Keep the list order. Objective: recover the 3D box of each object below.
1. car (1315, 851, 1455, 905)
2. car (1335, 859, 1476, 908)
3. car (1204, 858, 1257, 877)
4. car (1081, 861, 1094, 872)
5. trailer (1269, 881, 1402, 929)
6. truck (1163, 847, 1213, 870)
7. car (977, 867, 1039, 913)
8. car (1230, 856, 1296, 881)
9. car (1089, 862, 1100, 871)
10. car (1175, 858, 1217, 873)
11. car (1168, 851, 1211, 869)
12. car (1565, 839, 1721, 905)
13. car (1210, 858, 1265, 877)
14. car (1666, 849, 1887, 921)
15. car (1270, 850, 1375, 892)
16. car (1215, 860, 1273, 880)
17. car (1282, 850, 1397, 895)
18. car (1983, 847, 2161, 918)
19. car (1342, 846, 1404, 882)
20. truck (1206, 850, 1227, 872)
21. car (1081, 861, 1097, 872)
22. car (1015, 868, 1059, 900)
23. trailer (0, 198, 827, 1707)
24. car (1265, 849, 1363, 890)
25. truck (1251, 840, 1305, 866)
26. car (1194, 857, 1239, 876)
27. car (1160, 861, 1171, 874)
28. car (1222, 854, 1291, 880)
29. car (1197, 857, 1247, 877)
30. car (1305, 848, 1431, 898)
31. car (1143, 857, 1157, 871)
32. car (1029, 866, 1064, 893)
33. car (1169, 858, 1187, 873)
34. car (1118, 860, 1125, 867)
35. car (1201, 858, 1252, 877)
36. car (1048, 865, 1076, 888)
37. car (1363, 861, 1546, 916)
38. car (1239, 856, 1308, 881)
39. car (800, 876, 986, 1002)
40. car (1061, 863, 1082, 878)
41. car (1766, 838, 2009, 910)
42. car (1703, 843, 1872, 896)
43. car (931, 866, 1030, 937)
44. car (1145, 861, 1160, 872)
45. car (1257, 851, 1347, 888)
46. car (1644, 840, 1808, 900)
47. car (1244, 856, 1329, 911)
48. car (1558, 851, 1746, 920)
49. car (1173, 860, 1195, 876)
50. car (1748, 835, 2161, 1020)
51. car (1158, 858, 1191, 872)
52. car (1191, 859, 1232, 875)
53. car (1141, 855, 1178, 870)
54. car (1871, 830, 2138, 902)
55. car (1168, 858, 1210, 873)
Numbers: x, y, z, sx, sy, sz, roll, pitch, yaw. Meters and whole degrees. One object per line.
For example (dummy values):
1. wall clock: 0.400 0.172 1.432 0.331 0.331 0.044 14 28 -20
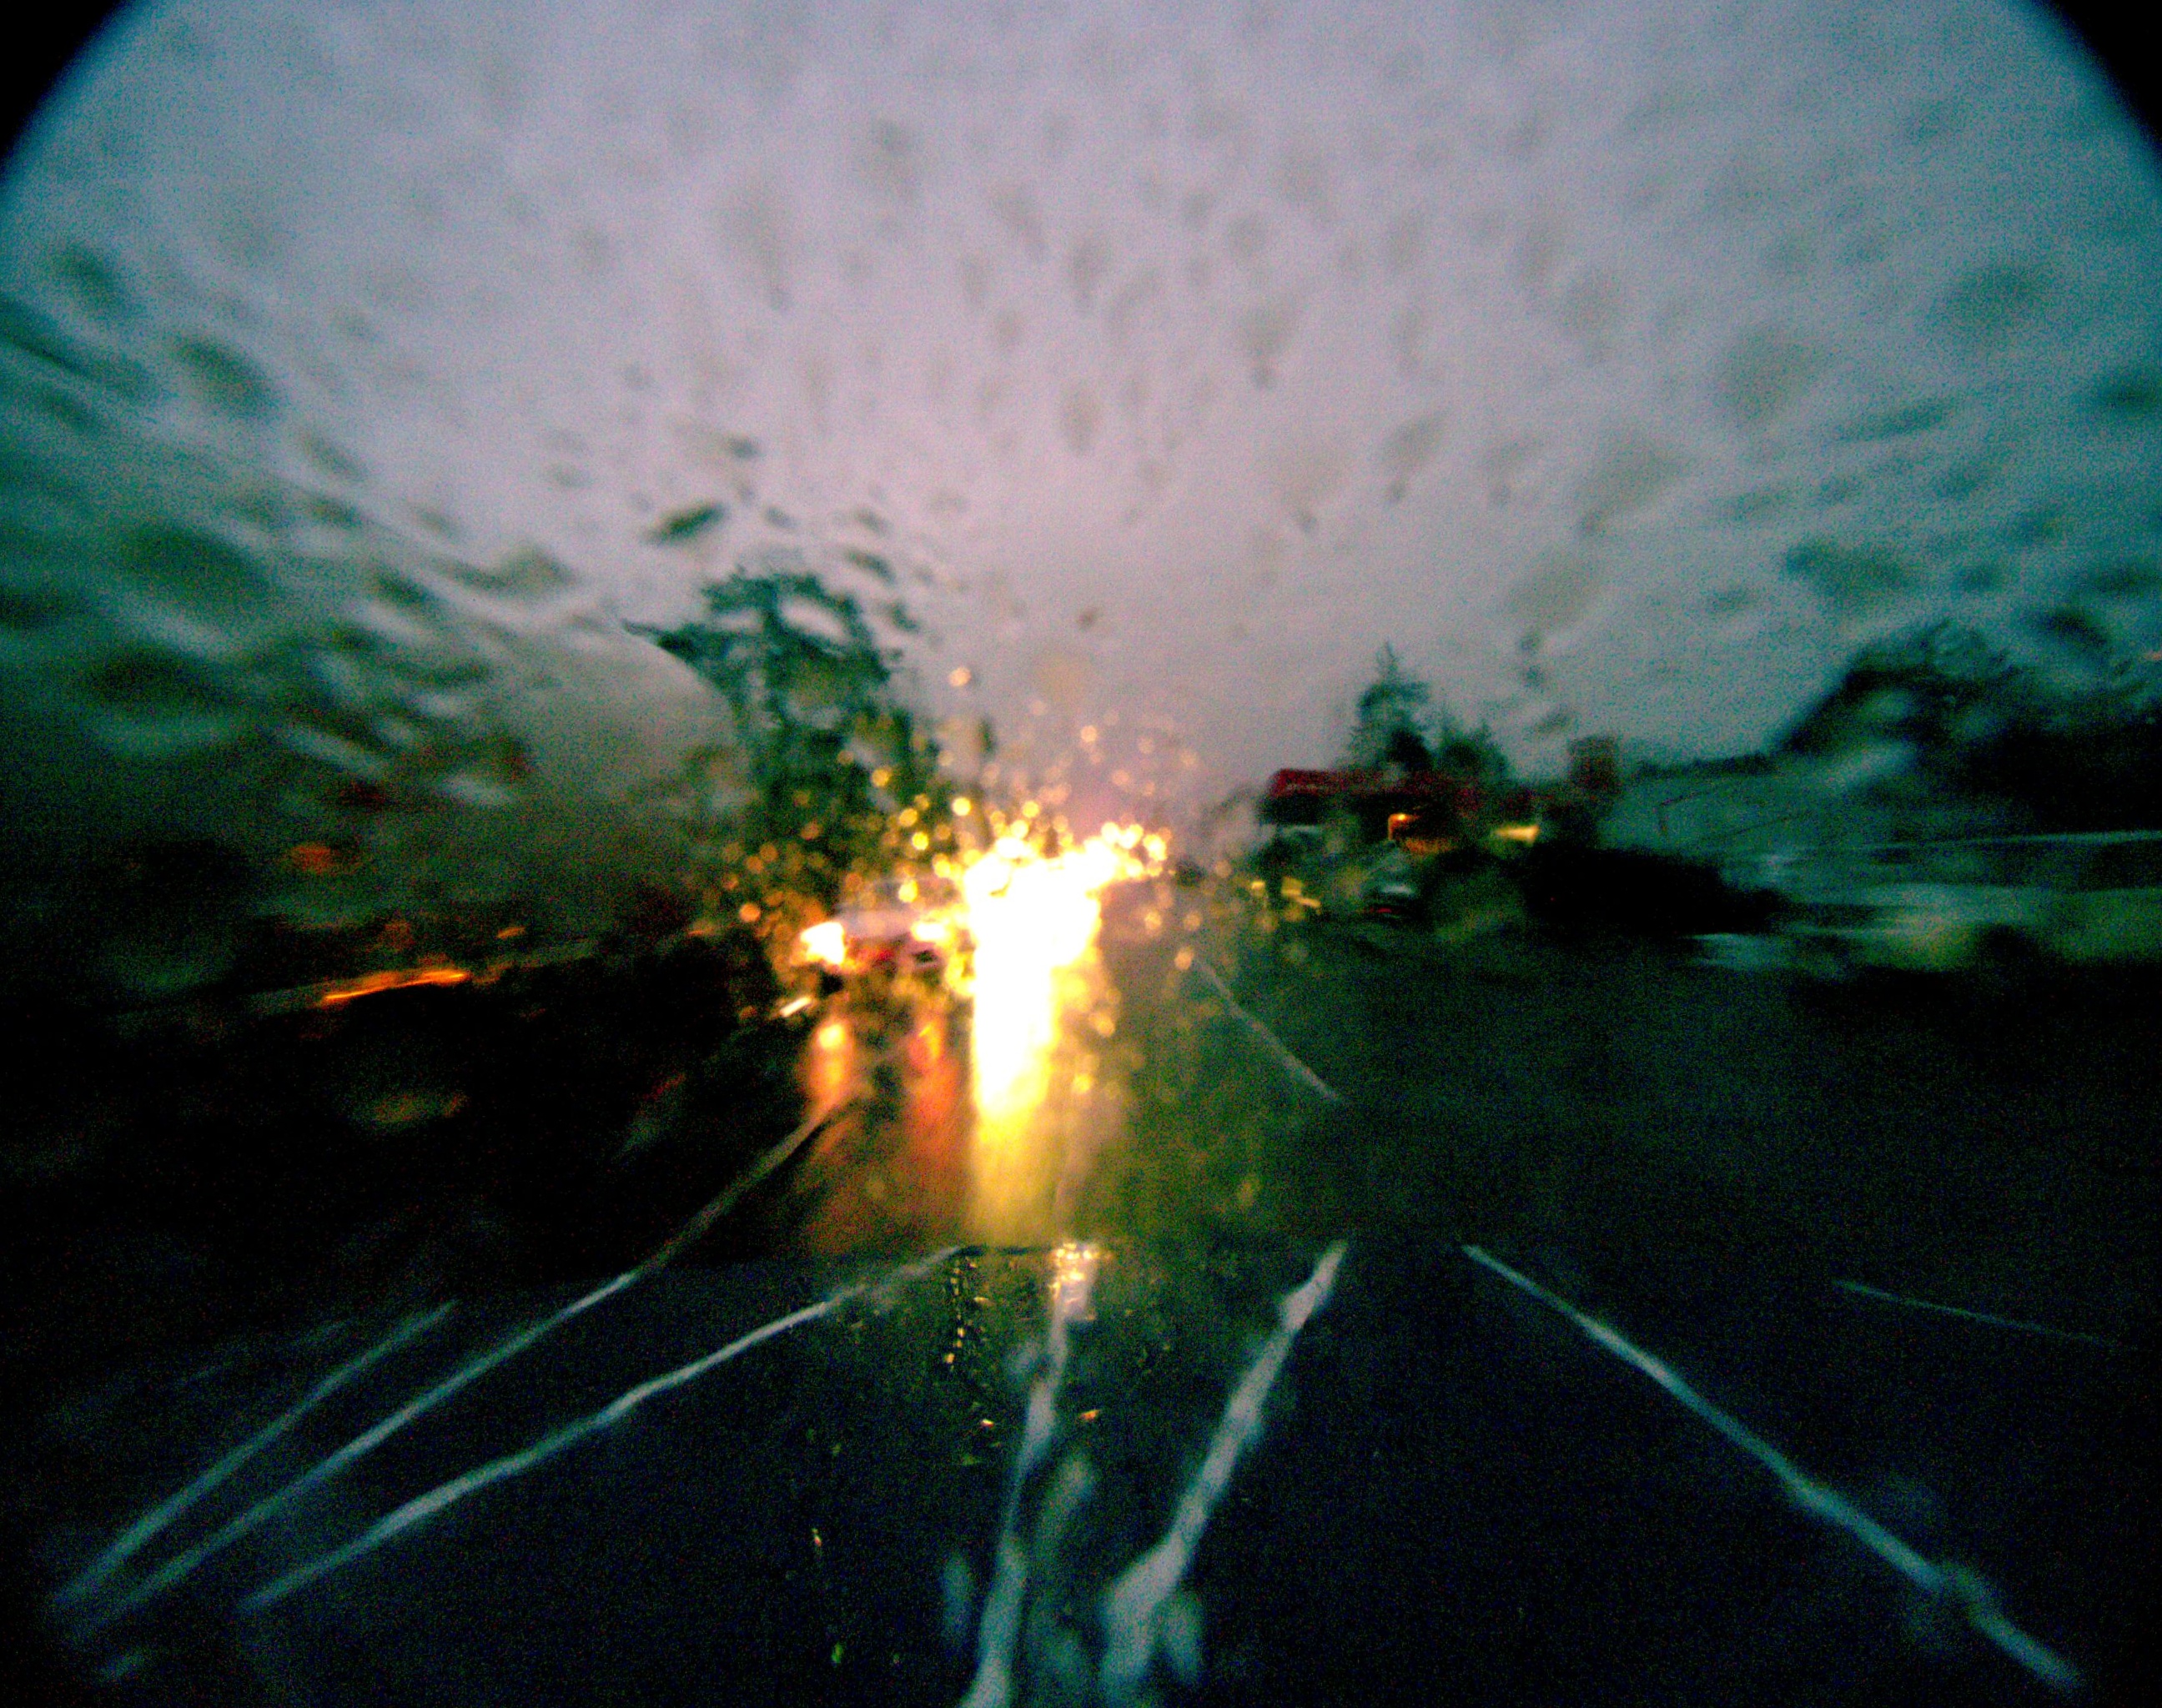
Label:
1. car: 11.090 0.858 27.976 4.287 1.617 2.000 -4 0 2
2. car: 10.720 0.968 25.303 3.903 1.420 1.720 -2 0 3
3. car: 11.921 1.107 60.827 3.868 1.397 1.840 -2 0 1
4. car: 1.051 1.959 121.125 1.889 1.618 4.001 -2 -1 2
5. trailer: 7.087 1.368 21.961 1.998 1.033 6.105 0 -1 2
6. truck: 15.620 0.650 111.317 6.876 3.123 2.334 -1 0 0
7. car: -2.621 1.265 28.237 1.706 1.463 4.272 -2 0 2
8. car: 11.951 0.949 50.038 3.868 1.550 1.840 -2 0 1
9. car: 2.351 2.174 133.436 1.890 1.618 4.000 -2 -1 0
10. car: 12.761 1.287 84.289 4.346 1.489 1.826 -2 0 2
11. car: 16.418 0.968 115.119 6.047 2.622 2.196 -1 -1 0
12. car: 17.579 0.525 24.048 1.998 1.893 4.000 -1 0 1
13. car: 11.969 1.049 58.367 3.868 1.338 1.840 -2 0 1
14. car: 17.384 0.710 19.311 1.998 1.615 4.000 -1 0 1
15. car: 11.466 0.801 36.329 4.287 1.652 2.000 -4 0 2
16. car: 11.878 1.155 55.510 3.868 1.338 1.840 -2 0 1
17. car: 11.358 0.791 33.604 4.287 1.652 2.137 -4 0 2
18. car: 26.031 0.652 19.103 1.998 1.615 4.000 -1 0 1
19. car: 15.771 0.523 41.253 1.890 1.858 4.000 -1 0 1
20. truck: 21.966 1.212 123.604 2.036 3.434 5.852 1 -1 -2
21. car: 1.138 1.764 110.363 2.016 1.483 3.999 -1 -1 -3
22. car: -2.033 1.370 36.004 1.657 1.328 4.273 -2 0 2
23. trailer: -3.518 0.256 0.738 2.494 3.221 10.870 -2 0 2
24. car: 11.836 0.775 38.820 4.287 1.753 2.000 -4 0 2
25. truck: 34.671 -0.154 133.824 8.714 4.236 3.004 -3 0 -9
26. car: 12.852 1.170 72.210 4.056 1.640 1.942 -1 0 4
27. car: 11.000 1.769 98.457 1.174 1.634 2.873 -1 -1 10
28. car: 12.080 0.892 52.596 4.291 1.647 1.981 -2 0 1
29. car: 12.240 1.146 66.095 4.040 1.545 1.824 -3 -1 1
30. car: 11.535 0.764 30.811 4.287 1.652 2.000 -4 0 2
31. car: 9.784 1.417 108.149 1.839 2.001 4.485 -2 0 4
32. car: -1.962 1.475 44.713 1.645 1.358 4.770 -2 0 2
33. car: 9.702 1.139 75.926 1.521 1.534 3.016 0 -1 2
34. car: 9.228 2.138 173.519 1.607 1.525 4.001 0 0 1
35. car: 12.160 1.103 63.634 3.868 1.401 1.944 -3 0 1
36. car: -1.365 1.612 56.252 1.712 1.566 4.465 -1 -1 2
37. car: 11.107 1.001 22.841 4.568 1.573 1.920 0 0 1
38. car: 12.013 0.929 47.650 3.868 1.433 1.840 -2 0 1
39. car: -2.673 1.152 11.902 1.666 1.430 4.382 -2 0 2
40. car: -1.061 1.740 82.353 2.016 1.483 3.999 -2 -1 -3
41. car: 20.316 0.462 19.442 1.998 1.615 4.000 -1 0 1
42. car: 22.022 0.456 23.913 1.739 1.521 3.906 -1 0 2
43. car: -2.519 1.152 20.162 1.840 1.559 4.504 -2 0 2
44. car: 9.651 1.682 102.523 1.574 1.314 4.255 0 1 0
45. car: 11.993 0.845 41.420 4.287 1.652 2.000 -4 0 2
46. car: 20.067 0.466 23.905 1.801 1.615 4.001 -3 0 3
47. car: 7.274 0.998 27.329 1.975 1.820 4.513 0 0 2
48. car: 14.829 0.759 20.057 1.998 1.615 4.000 -1 0 1
49. car: 9.724 1.310 71.950 1.686 1.412 3.742 -1 0 4
50. car: 10.957 0.710 8.425 5.201 1.780 2.000 -1 0 3
51. car: 15.402 1.795 124.964 5.158 2.137 2.059 0 -1 2
52. car: 13.233 1.331 77.007 3.781 1.451 1.776 -3 0 -1
53. car: 13.356 1.477 129.915 6.171 2.616 2.176 0 -1 2
54. car: 23.248 0.283 19.413 1.998 1.615 4.000 -1 0 1
55. car: 12.695 1.333 89.450 4.546 1.666 2.010 -2 0 -2
